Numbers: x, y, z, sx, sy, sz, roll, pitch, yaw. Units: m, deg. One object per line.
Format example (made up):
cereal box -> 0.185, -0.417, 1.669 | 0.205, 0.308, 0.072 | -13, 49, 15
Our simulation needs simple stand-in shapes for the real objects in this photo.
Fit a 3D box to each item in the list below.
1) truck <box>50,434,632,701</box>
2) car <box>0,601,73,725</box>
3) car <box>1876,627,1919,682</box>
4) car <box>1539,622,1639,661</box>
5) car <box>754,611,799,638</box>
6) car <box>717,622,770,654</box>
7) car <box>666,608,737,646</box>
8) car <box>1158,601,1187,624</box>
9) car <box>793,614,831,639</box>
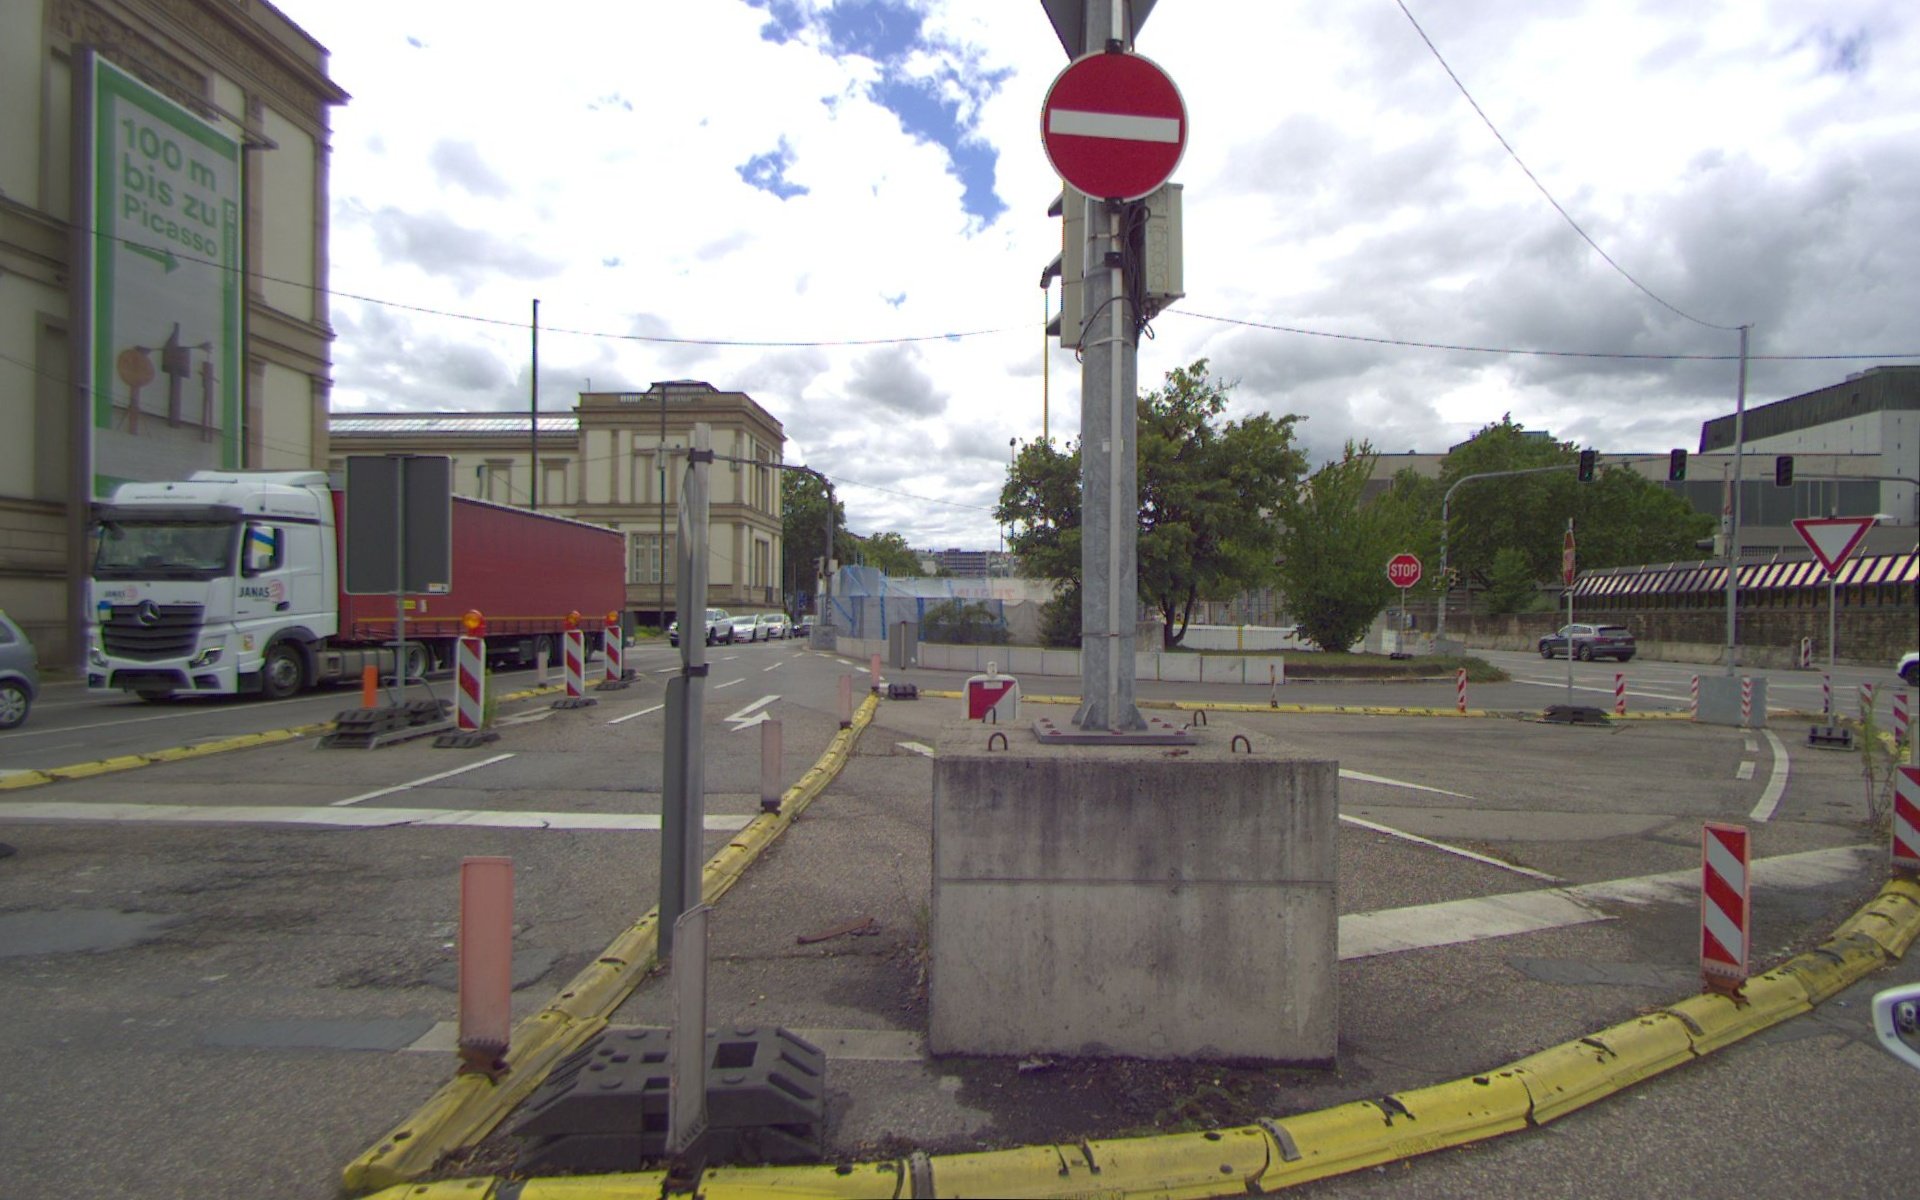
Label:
truck -> -12.385, -0.419, 23.956 | 2.868, 4.137, 16.619 | 0, -1, 3
car -> -12.887, 0.796, 11.466 | 1.735, 1.524, 4.132 | 1, 0, 3
car -> 29.724, 1.634, 29.198 | 1.727, 1.588, 4.319 | -1, 0, -14
car -> 28.798, 1.848, 46.149 | 1.793, 1.589, 4.480 | 0, 0, 1
car -> -10.596, 1.402, 58.255 | 1.579, 1.498, 3.644 | 2, -1, 5
car -> -10.834, 1.893, 50.538 | 1.559, 1.445, 3.644 | 2, -1, 5
car -> -11.293, 1.165, 44.151 | 1.682, 1.557, 4.143 | 2, -1, 5
car -> 23.650, 1.421, 112.154 | 2.538, 2.406, 5.529 | 0, -1, 5
car -> -9.588, 1.707, 65.238 | 1.579, 1.498, 3.644 | 2, -1, 5
